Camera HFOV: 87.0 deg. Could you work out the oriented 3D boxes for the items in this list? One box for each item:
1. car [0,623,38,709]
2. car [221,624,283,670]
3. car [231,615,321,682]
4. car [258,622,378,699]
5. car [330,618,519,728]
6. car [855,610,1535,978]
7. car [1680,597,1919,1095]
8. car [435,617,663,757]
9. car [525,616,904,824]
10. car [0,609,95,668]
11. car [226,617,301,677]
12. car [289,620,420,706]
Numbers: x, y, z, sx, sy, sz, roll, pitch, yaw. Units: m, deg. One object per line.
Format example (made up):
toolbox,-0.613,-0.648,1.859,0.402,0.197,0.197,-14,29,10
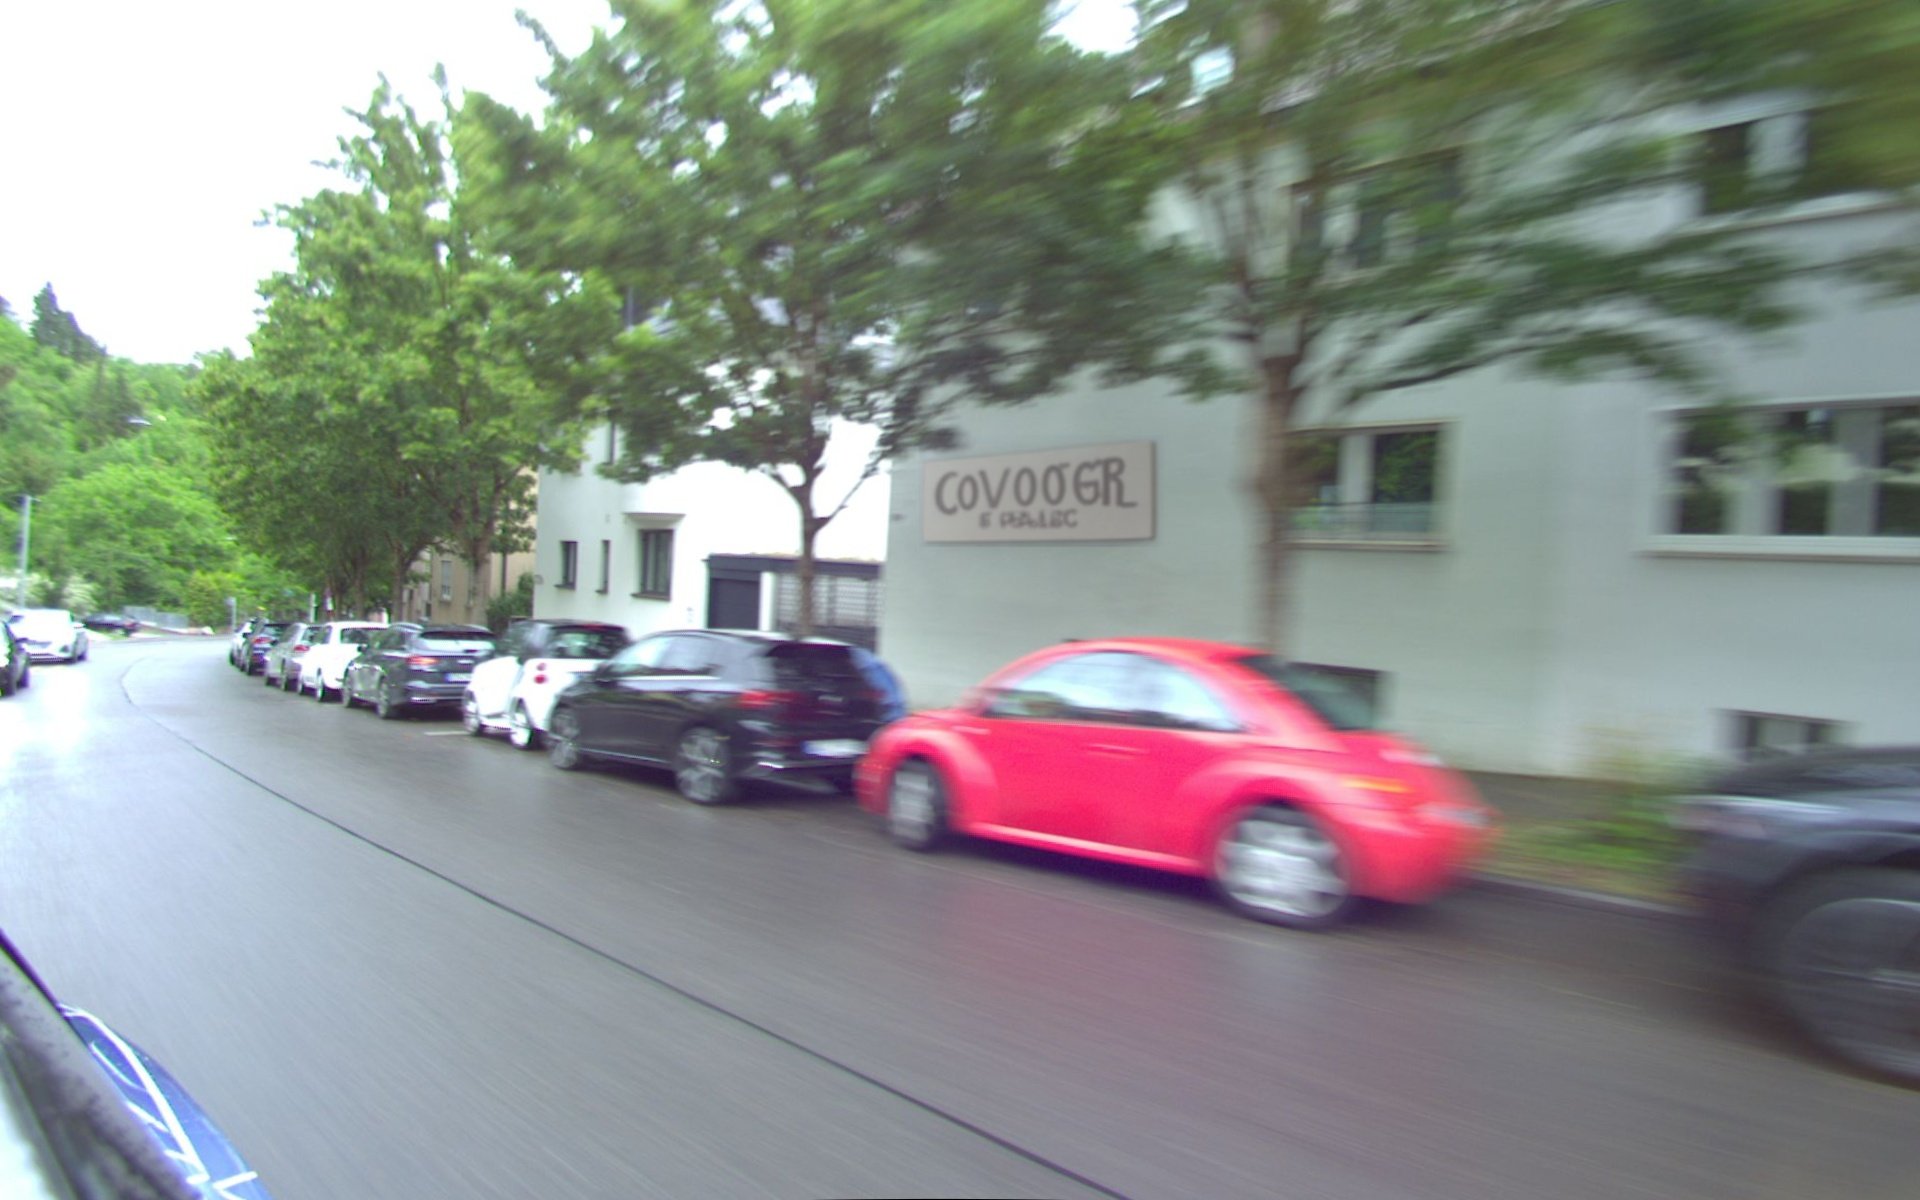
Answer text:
car,-18.854,1.184,19.165,1.780,1.500,4.024,4,-3,-39
car,-26.242,1.711,37.600,1.596,1.482,3.678,8,-5,-32
car,-19.242,1.324,28.406,1.597,1.671,3.931,7,-5,-39
car,-14.452,1.309,22.684,1.598,1.481,3.978,6,-4,-41
car,-8.825,1.127,16.494,1.643,1.500,4.482,7,-4,-41
car,1.310,0.950,6.428,3.845,1.576,1.616,1,-4,39
car,4.930,0.813,2.863,4.574,1.621,1.664,-1,-4,41
car,-5.397,1.059,13.099,1.537,1.522,3.387,7,-5,-43
car,-2.493,0.980,9.578,1.537,1.500,4.101,7,-5,-44
car,-28.147,1.158,30.968,1.980,1.674,4.457,3,-3,-34
car,-22.631,1.493,32.833,1.572,1.671,3.931,9,-6,-38
car,-11.909,1.212,19.826,1.554,1.500,3.475,6,-6,-40
